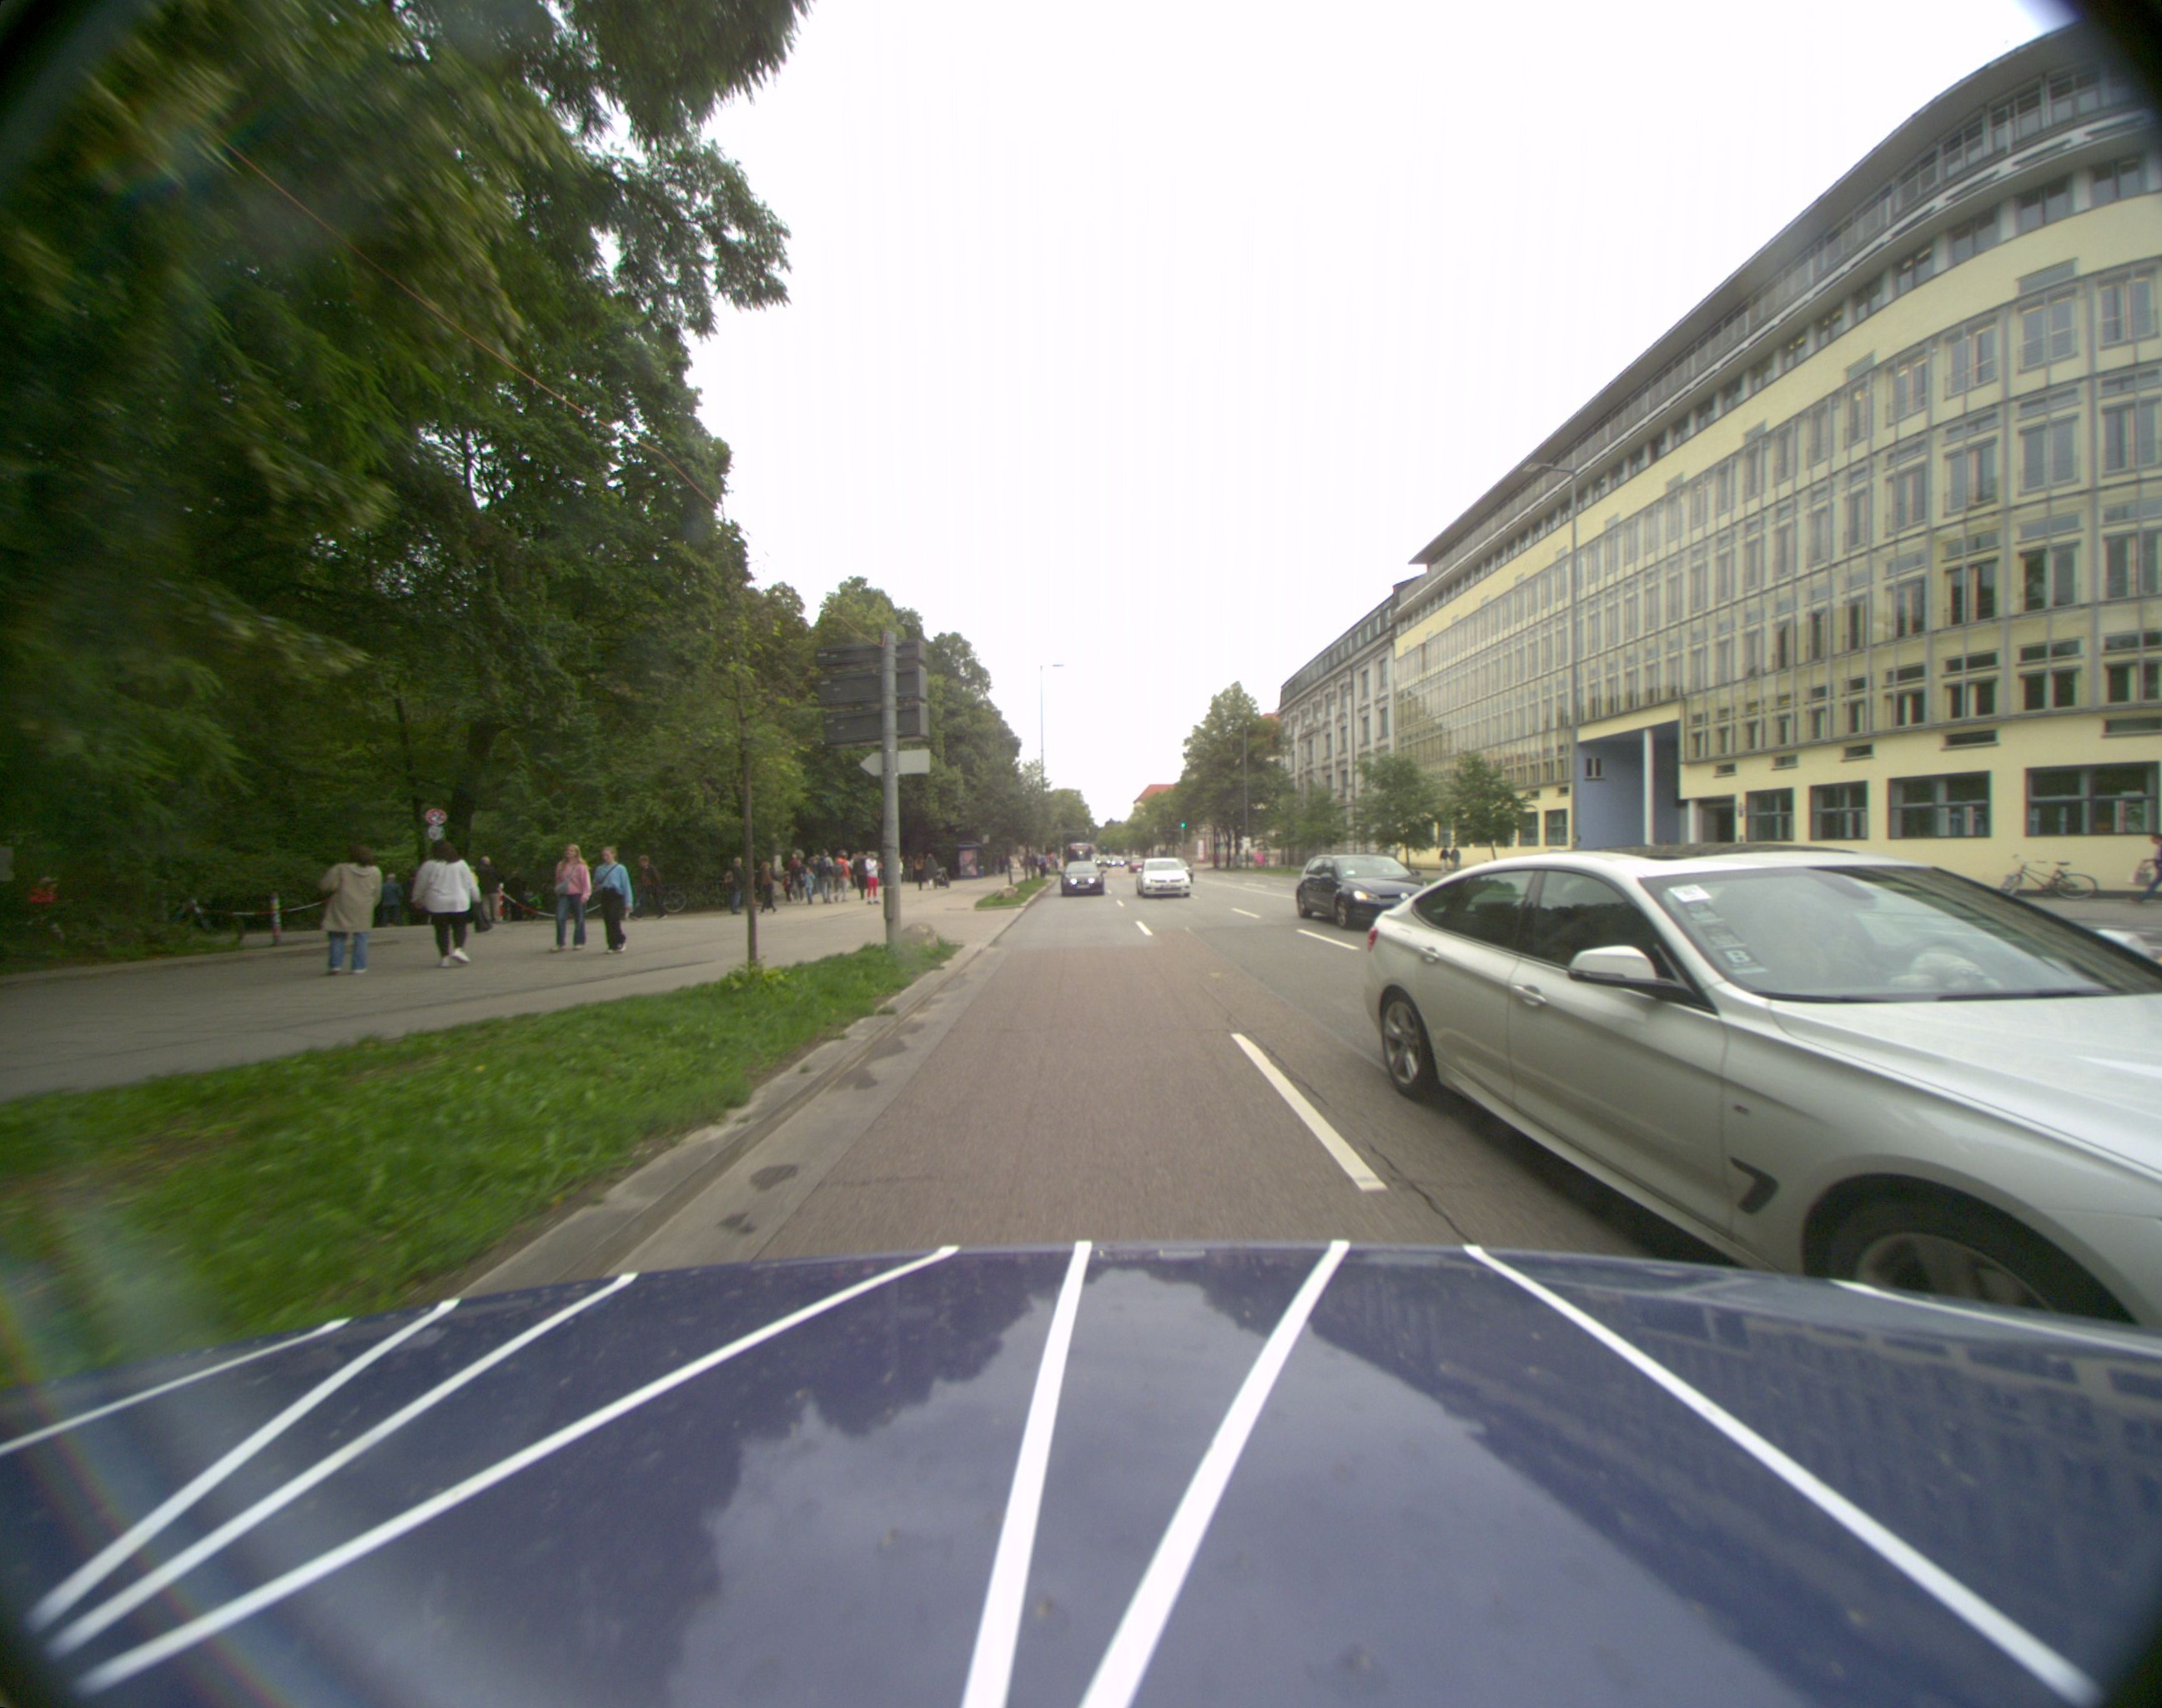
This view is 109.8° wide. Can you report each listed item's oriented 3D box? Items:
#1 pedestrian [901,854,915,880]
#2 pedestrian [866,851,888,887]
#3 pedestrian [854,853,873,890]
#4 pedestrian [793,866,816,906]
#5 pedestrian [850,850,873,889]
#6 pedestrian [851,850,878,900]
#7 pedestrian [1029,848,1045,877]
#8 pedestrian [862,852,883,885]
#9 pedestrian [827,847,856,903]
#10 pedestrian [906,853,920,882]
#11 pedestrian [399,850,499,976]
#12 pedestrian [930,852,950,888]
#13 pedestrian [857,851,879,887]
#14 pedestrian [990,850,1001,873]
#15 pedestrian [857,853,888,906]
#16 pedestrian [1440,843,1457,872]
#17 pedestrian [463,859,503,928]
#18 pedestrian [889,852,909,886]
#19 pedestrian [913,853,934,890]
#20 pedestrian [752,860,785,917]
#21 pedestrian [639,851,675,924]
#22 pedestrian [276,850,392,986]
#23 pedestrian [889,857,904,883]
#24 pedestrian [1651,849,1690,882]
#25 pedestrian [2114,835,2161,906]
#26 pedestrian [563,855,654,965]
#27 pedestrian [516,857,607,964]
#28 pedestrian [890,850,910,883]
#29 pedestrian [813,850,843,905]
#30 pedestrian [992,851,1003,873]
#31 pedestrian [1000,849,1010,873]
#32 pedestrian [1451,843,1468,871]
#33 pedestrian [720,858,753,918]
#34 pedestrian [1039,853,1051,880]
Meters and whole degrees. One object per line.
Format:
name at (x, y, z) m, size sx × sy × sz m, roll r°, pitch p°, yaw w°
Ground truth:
pedestrian at (-10.702, 0.802, 47.050) m, size 0.637 × 1.617 × 0.533 m, roll -2°, pitch 1°, yaw 3°
pedestrian at (-10.645, 0.767, 39.680) m, size 0.814 × 1.841 × 0.729 m, roll -2°, pitch 1°, yaw 3°
pedestrian at (-10.147, 0.791, 35.464) m, size 0.593 × 1.681 × 0.729 m, roll -2°, pitch 1°, yaw 3°
pedestrian at (-9.465, 1.080, 26.055) m, size 0.459 × 1.319 × 0.648 m, roll -2°, pitch 1°, yaw 5°
pedestrian at (-10.830, 0.746, 37.458) m, size 0.814 × 1.863 × 0.729 m, roll -2°, pitch 1°, yaw 3°
pedestrian at (-8.211, 0.782, 28.793) m, size 0.610 × 1.862 × 0.694 m, roll -2°, pitch 1°, yaw 17°
pedestrian at (-2.921, 0.566, 50.376) m, size 0.804 × 1.870 × 0.545 m, roll -2°, pitch 1°, yaw 36°
pedestrian at (-10.679, 0.735, 38.950) m, size 0.814 × 1.681 × 0.673 m, roll -2°, pitch 1°, yaw 3°
pedestrian at (-8.413, 0.729, 26.665) m, size 0.610 × 1.903 × 0.694 m, roll -2°, pitch 1°, yaw 17°
pedestrian at (-10.543, 0.836, 47.661) m, size 0.637 × 1.757 × 0.533 m, roll -2°, pitch 1°, yaw 3°
pedestrian at (-8.525, 0.783, 10.267) m, size 0.755 × 1.634 × 0.651 m, roll -2°, pitch 1°, yaw 16°
pedestrian at (-6.633, 0.741, 35.787) m, size 0.728 × 1.681 × 0.648 m, roll -2°, pitch 1°, yaw 5°
pedestrian at (-10.713, 0.757, 38.227) m, size 0.814 × 1.780 × 0.729 m, roll -2°, pitch 1°, yaw 3°
pedestrian at (-7.064, 0.636, 62.975) m, size 0.710 × 1.904 × 0.956 m, roll -2°, pitch 1°, yaw 0°
pedestrian at (-6.870, 0.838, 25.043) m, size 0.728 × 1.681 × 0.648 m, roll -2°, pitch 1°, yaw 5°
pedestrian at (23.269, 0.224, 48.157) m, size 0.617 × 1.766 × 0.836 m, roll -2°, pitch 1°, yaw 0°
pedestrian at (-15.155, 0.983, 19.270) m, size 0.694 × 1.686 × 0.610 m, roll -3°, pitch 1°, yaw -35°
pedestrian at (-9.890, 0.812, 41.398) m, size 0.814 × 1.757 × 0.729 m, roll -2°, pitch 1°, yaw 3°
pedestrian at (-7.416, 0.807, 35.841) m, size 0.728 × 1.681 × 0.648 m, roll -2°, pitch 1°, yaw 5°
pedestrian at (-8.860, 0.970, 21.528) m, size 0.694 × 1.568 × 0.610 m, roll -3°, pitch 1°, yaw -35°
pedestrian at (-11.225, 0.880, 20.119) m, size 0.694 × 1.862 × 0.610 m, roll -3°, pitch 1°, yaw -35°
pedestrian at (-9.396, 0.781, 9.577) m, size 0.755 × 1.634 × 0.691 m, roll -2°, pitch 1°, yaw 16°
pedestrian at (-10.709, 0.941, 44.150) m, size 0.637 × 1.498 × 0.533 m, roll -2°, pitch 1°, yaw 3°
pedestrian at (25.239, 0.482, 32.534) m, size 0.839 × 1.356 × 1.086 m, roll -1°, pitch 0°, yaw 0°
pedestrian at (26.790, 0.405, 18.922) m, size 0.992 × 1.723 × 0.816 m, roll -2°, pitch 1°, yaw 31°
pedestrian at (-7.325, 0.850, 11.815) m, size 0.755 × 1.634 × 0.850 m, roll -2°, pitch 1°, yaw 16°
pedestrian at (-8.297, 0.888, 12.167) m, size 0.755 × 1.634 × 0.850 m, roll -2°, pitch 1°, yaw 16°
pedestrian at (-10.057, 0.692, 42.159) m, size 0.814 × 1.818 × 0.729 m, roll -2°, pitch 1°, yaw 3°
pedestrian at (-8.652, 0.798, 25.985) m, size 0.610 × 1.862 × 0.694 m, roll -2°, pitch 1°, yaw 17°
pedestrian at (-6.956, 0.655, 63.181) m, size 0.710 × 1.798 × 0.950 m, roll -2°, pitch 1°, yaw 0°
pedestrian at (-6.257, 0.588, 62.603) m, size 0.710 × 1.904 × 0.956 m, roll -2°, pitch 1°, yaw 0°
pedestrian at (23.978, 0.186, 48.105) m, size 0.617 × 1.766 × 0.836 m, roll -2°, pitch 1°, yaw 0°
pedestrian at (-9.721, 0.937, 21.458) m, size 0.694 × 1.642 × 0.610 m, roll -3°, pitch 1°, yaw -33°
pedestrian at (-2.461, 0.840, 52.169) m, size 0.710 × 1.798 × 0.639 m, roll -2°, pitch 1°, yaw 0°
